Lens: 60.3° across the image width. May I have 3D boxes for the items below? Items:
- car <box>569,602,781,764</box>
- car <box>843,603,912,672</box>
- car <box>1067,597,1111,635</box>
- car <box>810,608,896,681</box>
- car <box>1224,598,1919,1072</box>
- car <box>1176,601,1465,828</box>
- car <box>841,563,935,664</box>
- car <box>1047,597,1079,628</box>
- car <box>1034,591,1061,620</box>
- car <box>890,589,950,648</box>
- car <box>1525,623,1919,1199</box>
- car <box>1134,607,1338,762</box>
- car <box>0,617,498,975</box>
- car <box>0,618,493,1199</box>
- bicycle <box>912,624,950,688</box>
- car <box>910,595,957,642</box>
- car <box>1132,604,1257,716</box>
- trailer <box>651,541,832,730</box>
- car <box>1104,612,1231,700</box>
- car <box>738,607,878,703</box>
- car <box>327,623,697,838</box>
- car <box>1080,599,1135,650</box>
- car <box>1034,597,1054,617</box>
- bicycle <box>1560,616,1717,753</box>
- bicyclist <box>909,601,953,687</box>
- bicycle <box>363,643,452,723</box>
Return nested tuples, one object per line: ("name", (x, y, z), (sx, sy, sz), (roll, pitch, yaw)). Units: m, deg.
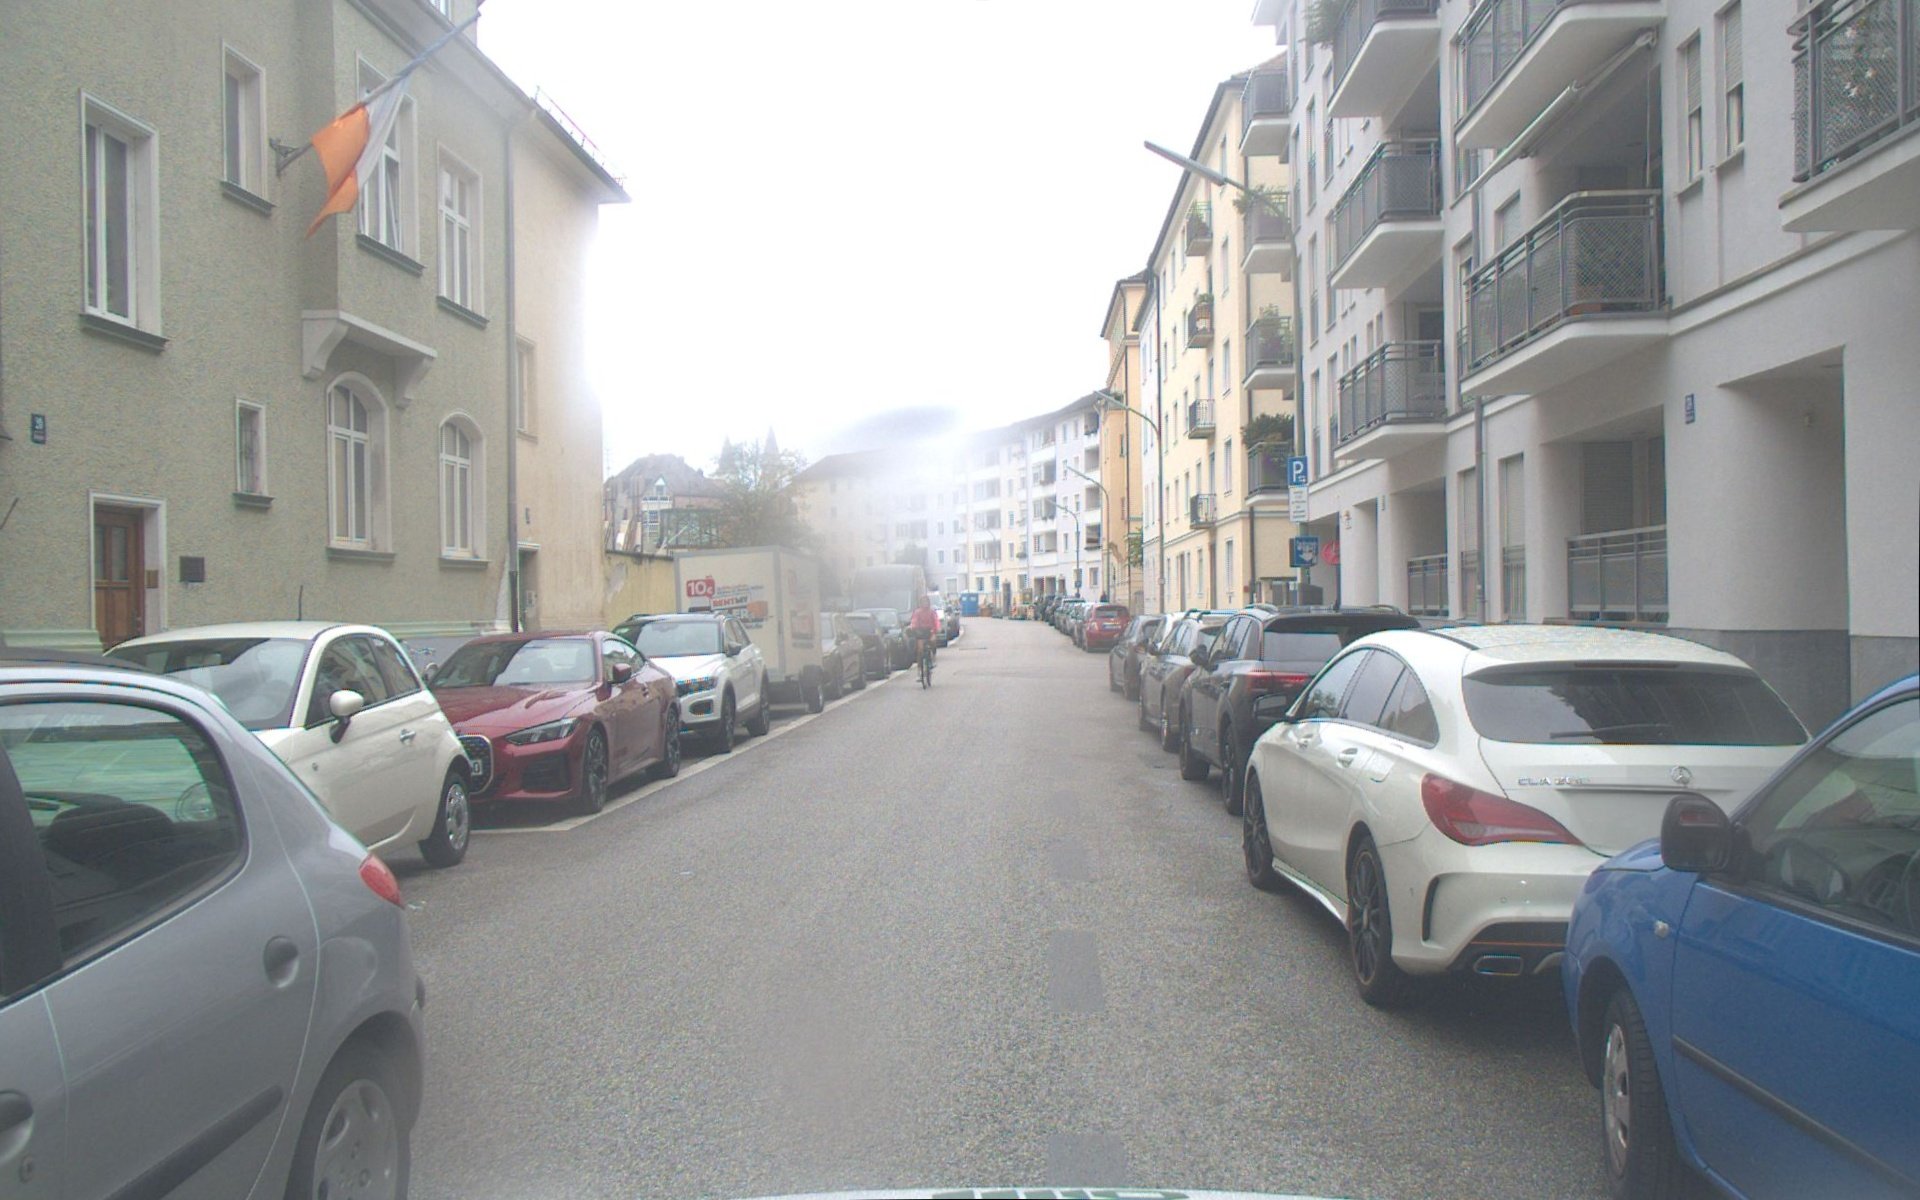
("car", (-3.242, 0.884, 19.535), (1.652, 1.631, 3.922), (-3, 0, 2))
("car", (-2.046, 0.914, 41.913), (1.553, 1.565, 3.543), (-2, 1, -1))
("car", (5.343, 0.651, 68.935), (1.566, 1.517, 3.799), (-1, 1, 1))
("car", (-2.345, 0.961, 37.155), (1.666, 1.471, 3.825), (0, 1, 0))
("car", (2.300, 0.750, 7.385), (1.624, 1.465, 4.207), (1, 0, 1))
("car", (2.800, 0.809, 13.661), (1.570, 1.557, 3.985), (1, 0, 1))
("car", (-1.993, 0.332, 47.251), (2.044, 2.682, 5.379), (-1, 0, 4))
("car", (5.501, 0.634, 88.666), (1.558, 1.610, 4.299), (0, 0, 1))
("car", (5.179, 0.326, 98.395), (1.443, 1.669, 4.001), (0, 0, 1))
("car", (-1.402, 0.615, 59.938), (1.844, 1.965, 4.602), (-3, 0, 2))
("car", (2.452, 0.792, 3.116), (1.585, 1.437, 3.554), (1, 0, 1))
("car", (3.123, 0.887, 19.554), (1.698, 1.557, 4.622), (1, 0, 1))
("car", (-3.734, 0.880, 8.902), (1.443, 1.492, 3.314), (-2, 0, 1))
("car", (-2.018, 0.762, 2.219), (1.548, 1.436, 3.614), (-1, -1, 3))
("bicycle", (-0.545, 1.054, 31.553), (0.493, 1.148, 1.774), (-2, 0, 5))
("car", (-1.052, 0.718, 66.659), (1.666, 1.720, 4.029), (-3, 0, 1))
("car", (3.492, 0.854, 25.081), (1.488, 1.557, 3.527), (1, 0, 2))
("trailer", (-3.153, 0.478, 24.782), (1.673, 2.504, 4.389), (-3, 0, 5))
("car", (3.590, 0.941, 29.276), (1.727, 1.432, 4.078), (-1, -1, 0))
("car", (-2.737, 0.959, 30.790), (1.729, 1.565, 4.543), (-3, -1, 5))
("car", (-3.559, 0.965, 14.019), (1.822, 1.437, 4.334), (-3, -1, 1))
("car", (4.689, 0.752, 52.986), (1.562, 1.535, 3.802), (-1, 0, 3))
("car", (5.600, 0.453, 110.121), (1.246, 1.321, 2.798), (0, 0, 1))
("bicycle", (6.406, 0.764, 15.747), (0.614, 1.180, 2.127), (-1, 0, 1))
("bicyclist", (-0.545, 0.822, 31.567), (0.679, 1.589, 0.967), (-2, 0, 5))
("bicycle", (-7.173, 1.057, 21.551), (0.512, 0.922, 1.929), (2, 0, -1))
